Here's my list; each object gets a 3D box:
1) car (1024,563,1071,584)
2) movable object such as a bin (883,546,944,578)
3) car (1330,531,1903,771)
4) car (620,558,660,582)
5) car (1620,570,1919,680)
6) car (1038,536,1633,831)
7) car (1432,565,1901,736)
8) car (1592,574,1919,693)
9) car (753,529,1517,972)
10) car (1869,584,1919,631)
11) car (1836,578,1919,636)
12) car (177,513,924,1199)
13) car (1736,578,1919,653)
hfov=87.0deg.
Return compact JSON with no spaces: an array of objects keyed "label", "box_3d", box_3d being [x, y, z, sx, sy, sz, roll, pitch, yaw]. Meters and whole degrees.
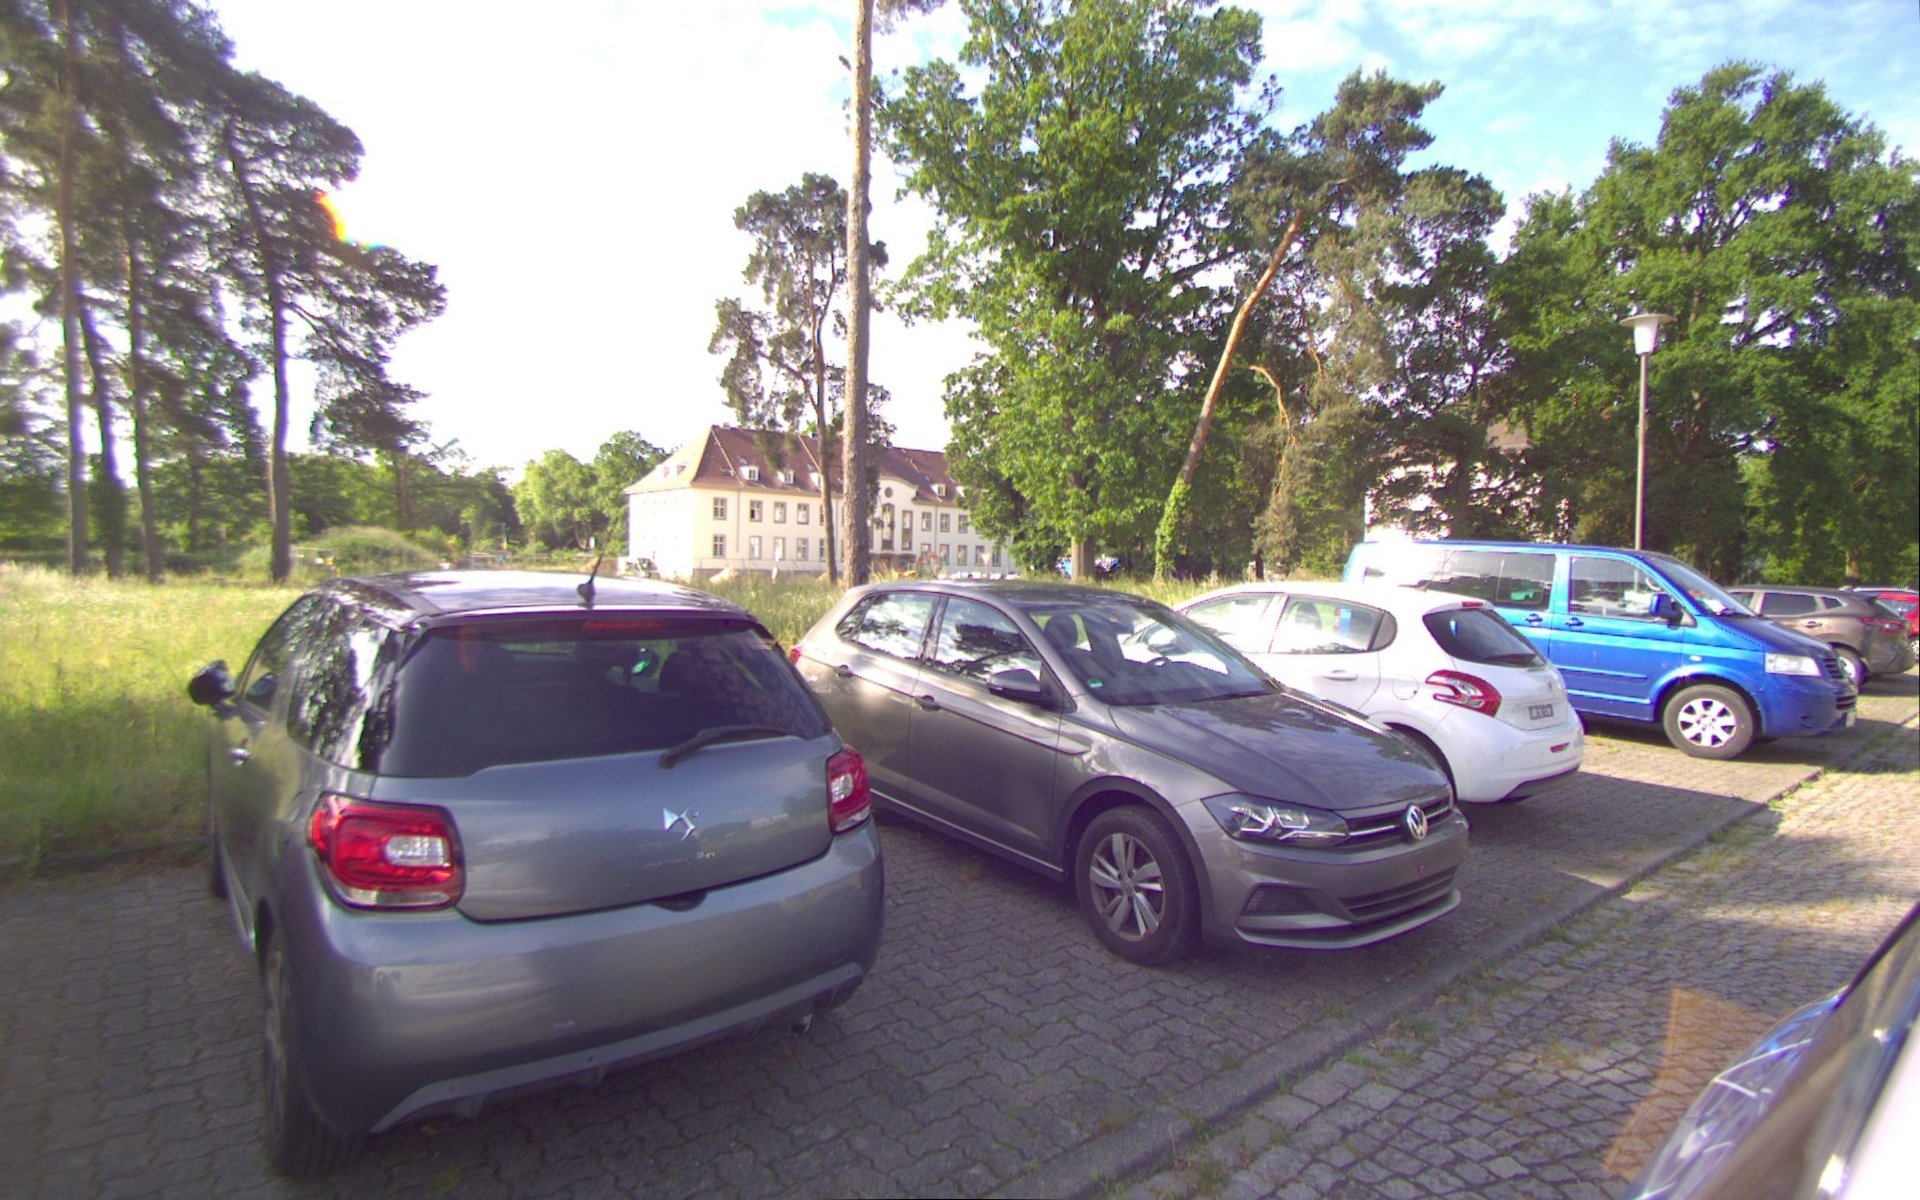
[{"label":"car","box_3d":[8.342,-2.496,96.073,4.317,1.963,1.905,-1,0,-39]},{"label":"movable object such as a bin","box_3d":[-5.161,-4.226,112.248,6.338,3.342,2.862,-1,0,7]},{"label":"car","box_3d":[6.673,0.291,10.807,1.965,1.959,4.710,0,4,-40]},{"label":"car","box_3d":[-30.745,-2.873,97.144,1.967,2.240,4.423,-1,0,-43]},{"label":"car","box_3d":[14.912,0.335,18.646,1.902,1.617,4.233,-1,4,-42]},{"label":"car","box_3d":[2.504,0.368,7.473,1.729,1.553,3.717,0,3,-39]},{"label":"car","box_3d":[8.533,0.447,12.593,1.905,1.596,4.408,0,4,-40]},{"label":"car","box_3d":[13.116,0.425,16.646,1.902,1.617,4.232,-1,3,-42]},{"label":"car","box_3d":[0.602,0.410,5.420,1.823,1.466,3.717,0,3,-39]},{"label":"car","box_3d":[32.143,0.325,32.556,1.754,1.440,4.096,0,3,-41]},{"label":"car","box_3d":[28.600,0.257,29.714,1.821,1.576,4.096,0,3,-41]},{"label":"car","box_3d":[-2.003,0.437,4.150,1.784,1.466,3.717,0,3,-40]},{"label":"car","box_3d":[20.752,0.340,23.440,1.821,1.477,4.096,0,3,-41]}]
